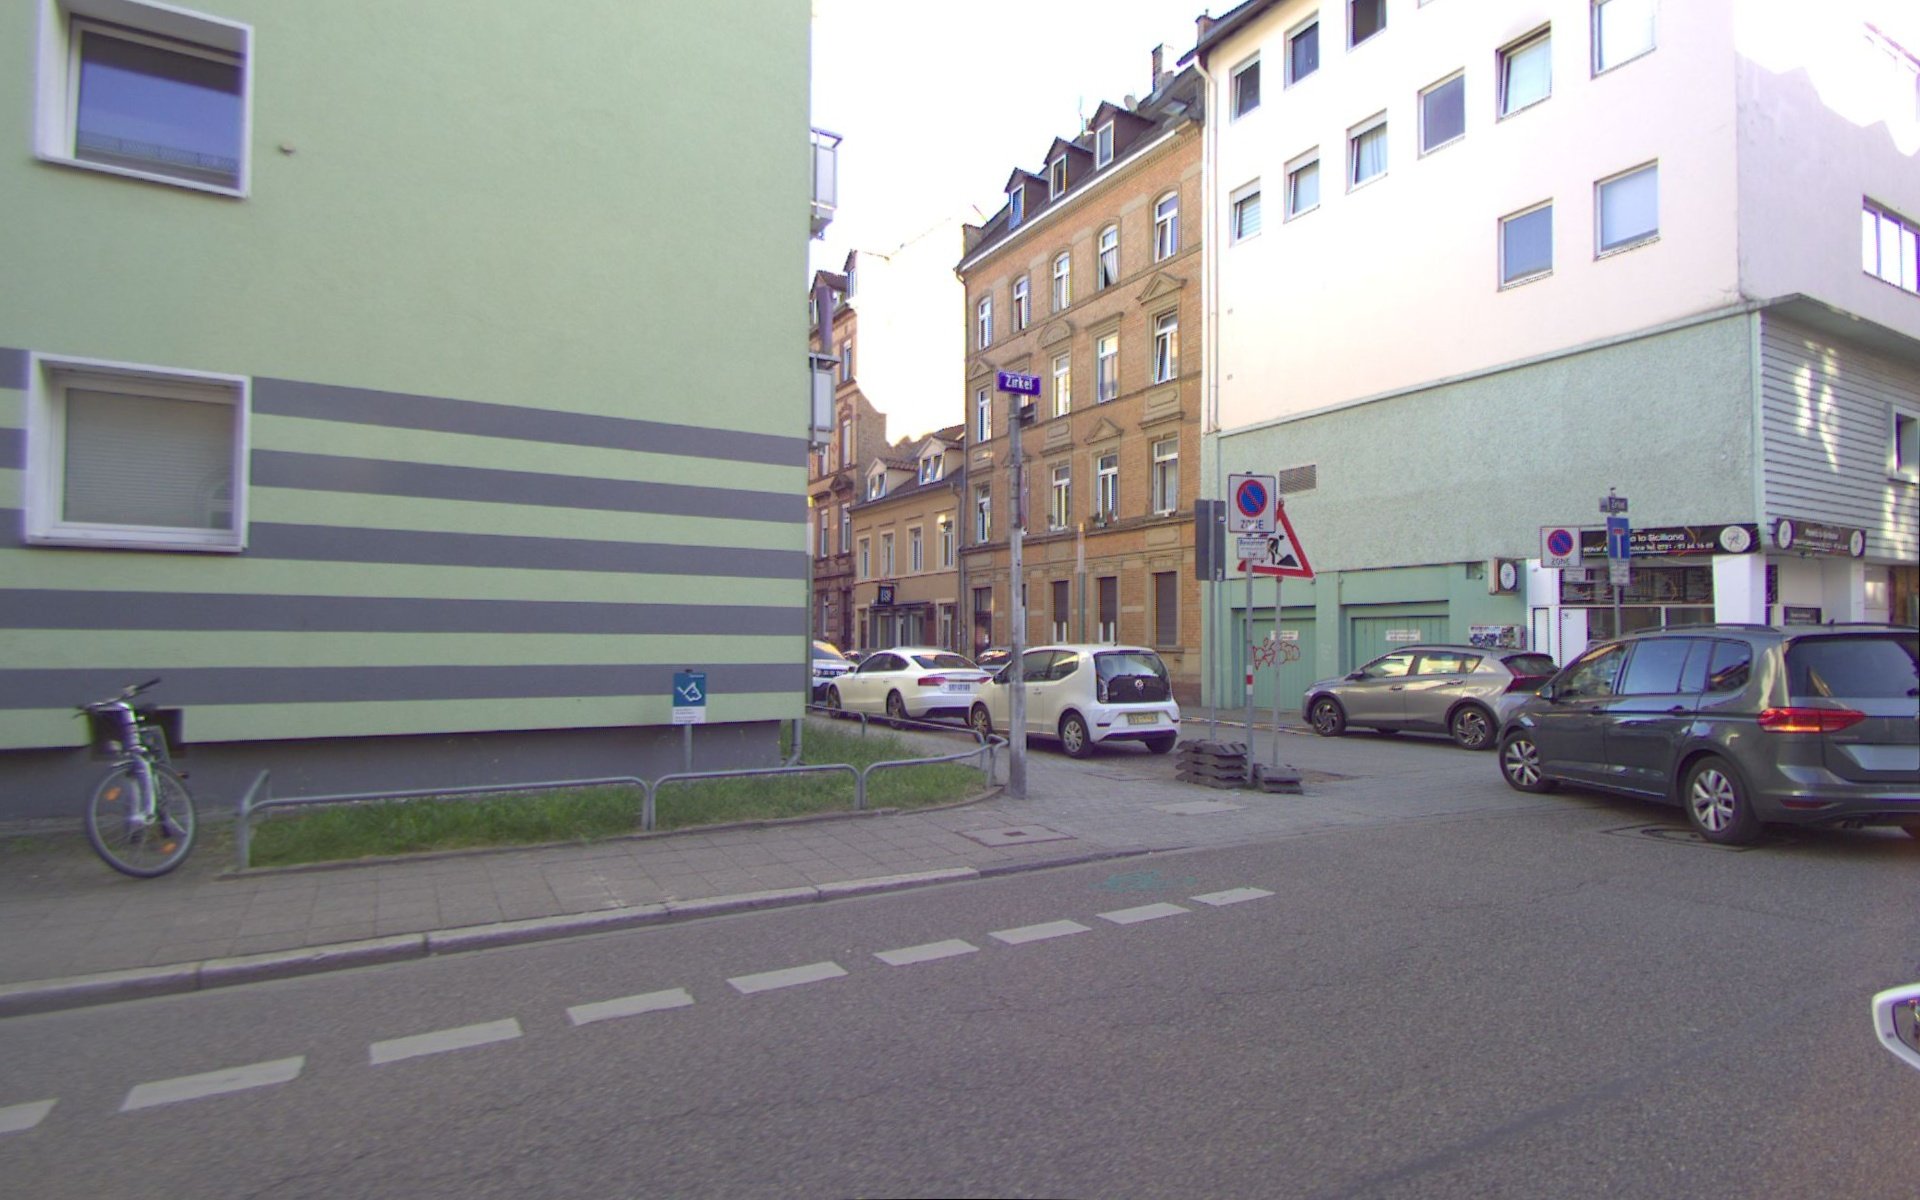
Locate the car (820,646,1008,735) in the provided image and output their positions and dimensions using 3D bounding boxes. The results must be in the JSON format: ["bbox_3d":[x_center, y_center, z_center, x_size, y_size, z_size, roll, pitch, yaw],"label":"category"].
[{"bbox_3d":[-0.991,1.587,18.832,1.792,1.461,4.338,1,-3,-29],"label":"car"}]

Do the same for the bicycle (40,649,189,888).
[{"bbox_3d":[-5.370,0.968,6.428,0.608,1.195,1.913,2,0,-39],"label":"bicycle"}]

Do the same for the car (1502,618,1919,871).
[{"bbox_3d":[6.413,1.008,8.531,1.732,1.628,4.003,1,-2,5],"label":"car"}]

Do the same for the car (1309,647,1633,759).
[{"bbox_3d":[7.647,1.453,15.458,1.924,1.461,4.081,1,-3,-29],"label":"car"}]

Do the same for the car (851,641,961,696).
[{"bbox_3d":[-1.734,2.055,30.877,1.705,1.521,4.025,1,-2,-31],"label":"car"}]

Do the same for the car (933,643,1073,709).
[{"bbox_3d":[1.034,1.916,26.223,1.705,1.521,4.025,1,-2,-31],"label":"car"}]

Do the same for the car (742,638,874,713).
[{"bbox_3d":[-3.712,1.720,23.963,1.705,1.603,4.025,1,-2,-31],"label":"car"}]

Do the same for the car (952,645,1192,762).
[{"bbox_3d":[1.488,1.382,14.518,1.791,1.461,3.486,1,-3,-29],"label":"car"}]
